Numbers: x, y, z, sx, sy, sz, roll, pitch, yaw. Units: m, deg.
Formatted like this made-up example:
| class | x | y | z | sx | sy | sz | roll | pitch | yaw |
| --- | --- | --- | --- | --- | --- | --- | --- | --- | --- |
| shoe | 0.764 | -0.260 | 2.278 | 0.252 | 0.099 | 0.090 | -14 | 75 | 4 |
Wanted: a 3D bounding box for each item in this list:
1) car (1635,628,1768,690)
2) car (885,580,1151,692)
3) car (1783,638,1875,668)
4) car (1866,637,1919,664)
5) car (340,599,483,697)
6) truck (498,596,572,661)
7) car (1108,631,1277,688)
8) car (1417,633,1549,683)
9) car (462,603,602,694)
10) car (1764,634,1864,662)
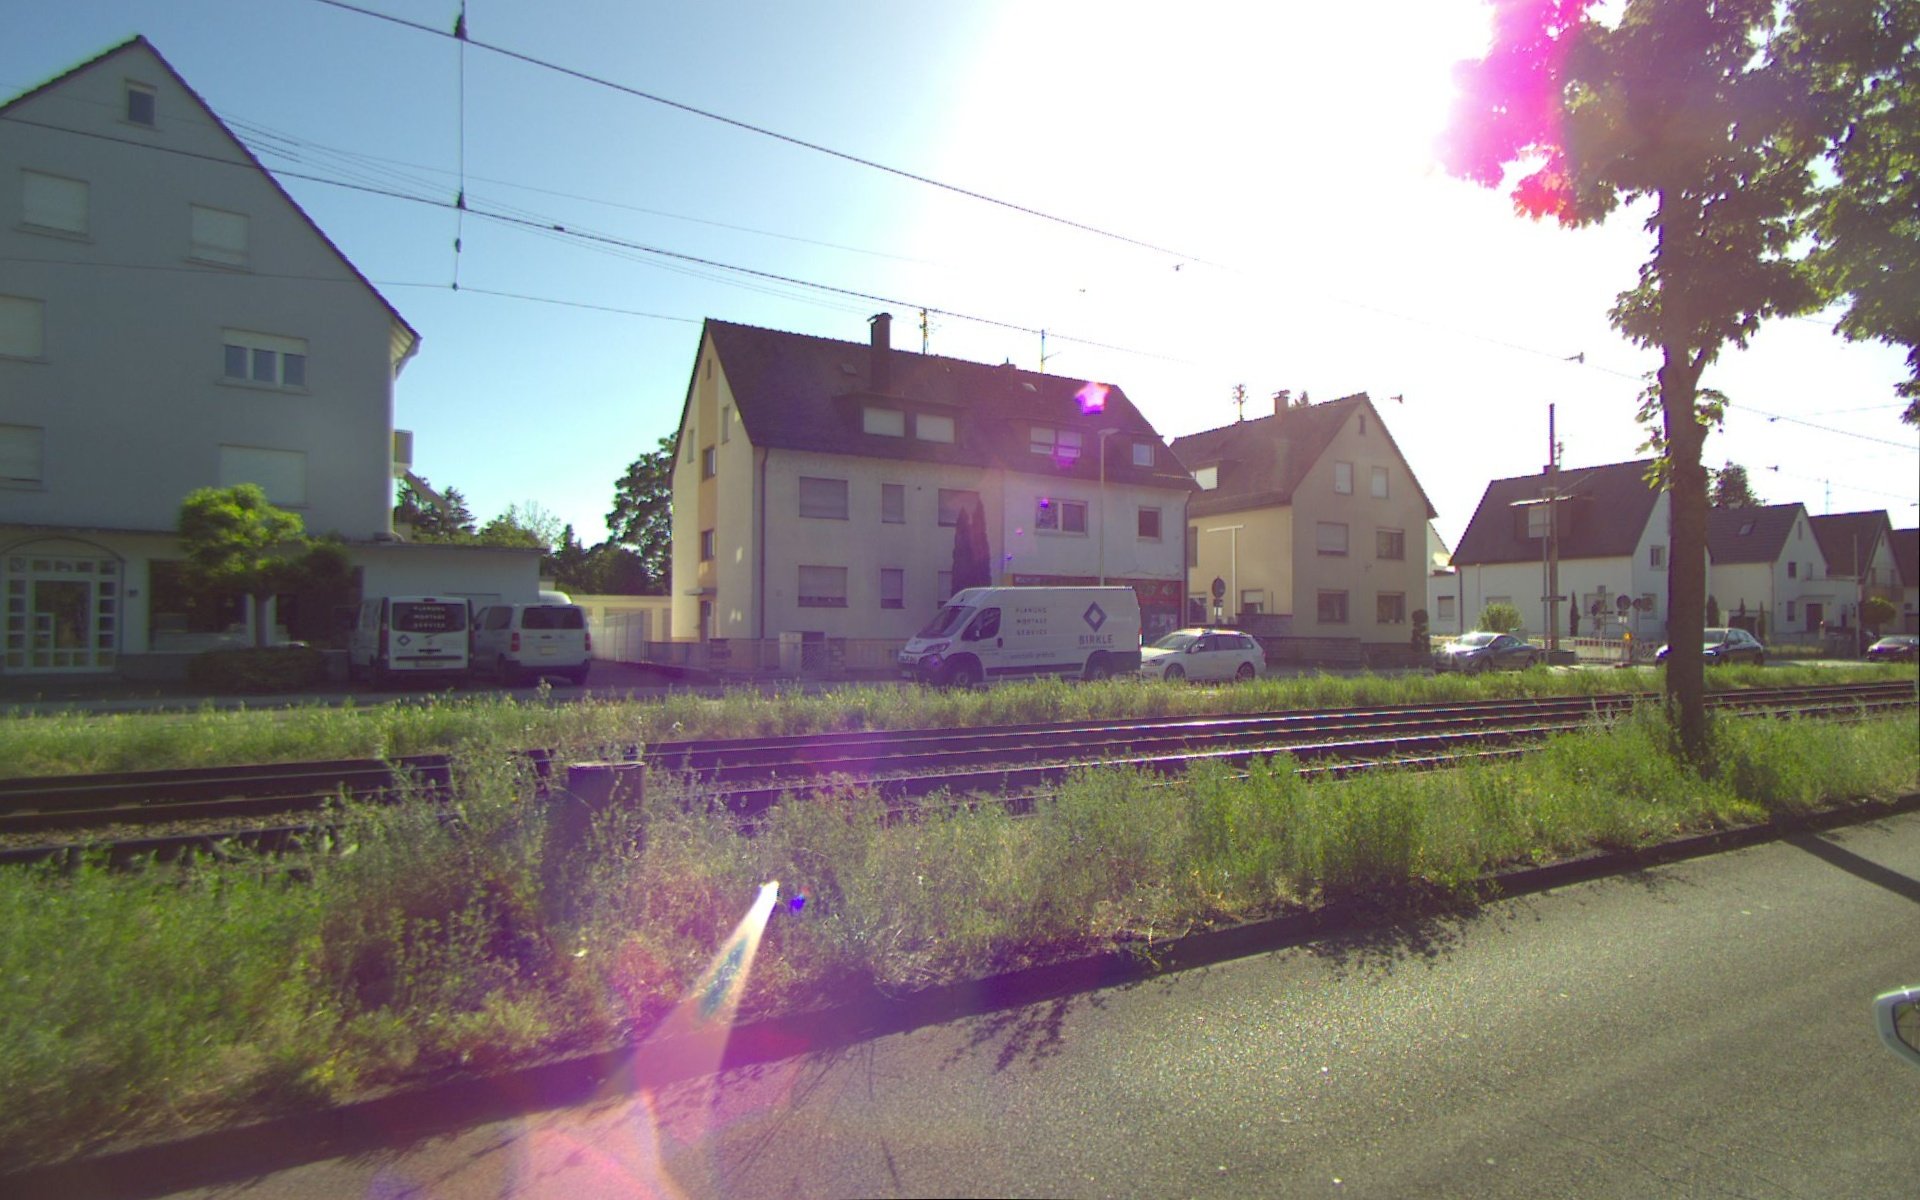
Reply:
| class | x | y | z | sx | sy | sz | roll | pitch | yaw |
| --- | --- | --- | --- | --- | --- | --- | --- | --- | --- |
| car | 24.714 | 1.924 | 33.439 | 4.469 | 1.908 | 1.907 | 2 | -1 | -29 |
| car | 1.541 | 0.892 | 24.878 | 6.598 | 2.492 | 1.984 | 2 | -1 | -31 |
| car | 54.000 | 3.274 | 62.500 | 1.979 | 1.691 | 3.963 | 2 | -1 | -33 |
| car | 50.223 | 2.693 | 53.689 | 3.951 | 1.343 | 1.487 | 2 | -1 | -29 |
| car | -12.440 | 1.016 | 22.634 | 1.984 | 1.971 | 4.579 | 2 | -2 | -40 |
| truck | -16.308 | 1.067 | 38.435 | 1.850 | 2.320 | 3.962 | 2 | -1 | -34 |
| car | 6.461 | 1.623 | 27.758 | 4.604 | 1.431 | 1.815 | 2 | -1 | -31 |
| car | 18.097 | 1.955 | 34.720 | 4.444 | 1.602 | 1.985 | 1 | -1 | -30 |
| car | -10.375 | 1.113 | 24.193 | 1.984 | 1.978 | 4.103 | 2 | -2 | -40 |
| car | 50.762 | 2.836 | 59.759 | 1.917 | 1.483 | 4.188 | 2 | -1 | -33 |
